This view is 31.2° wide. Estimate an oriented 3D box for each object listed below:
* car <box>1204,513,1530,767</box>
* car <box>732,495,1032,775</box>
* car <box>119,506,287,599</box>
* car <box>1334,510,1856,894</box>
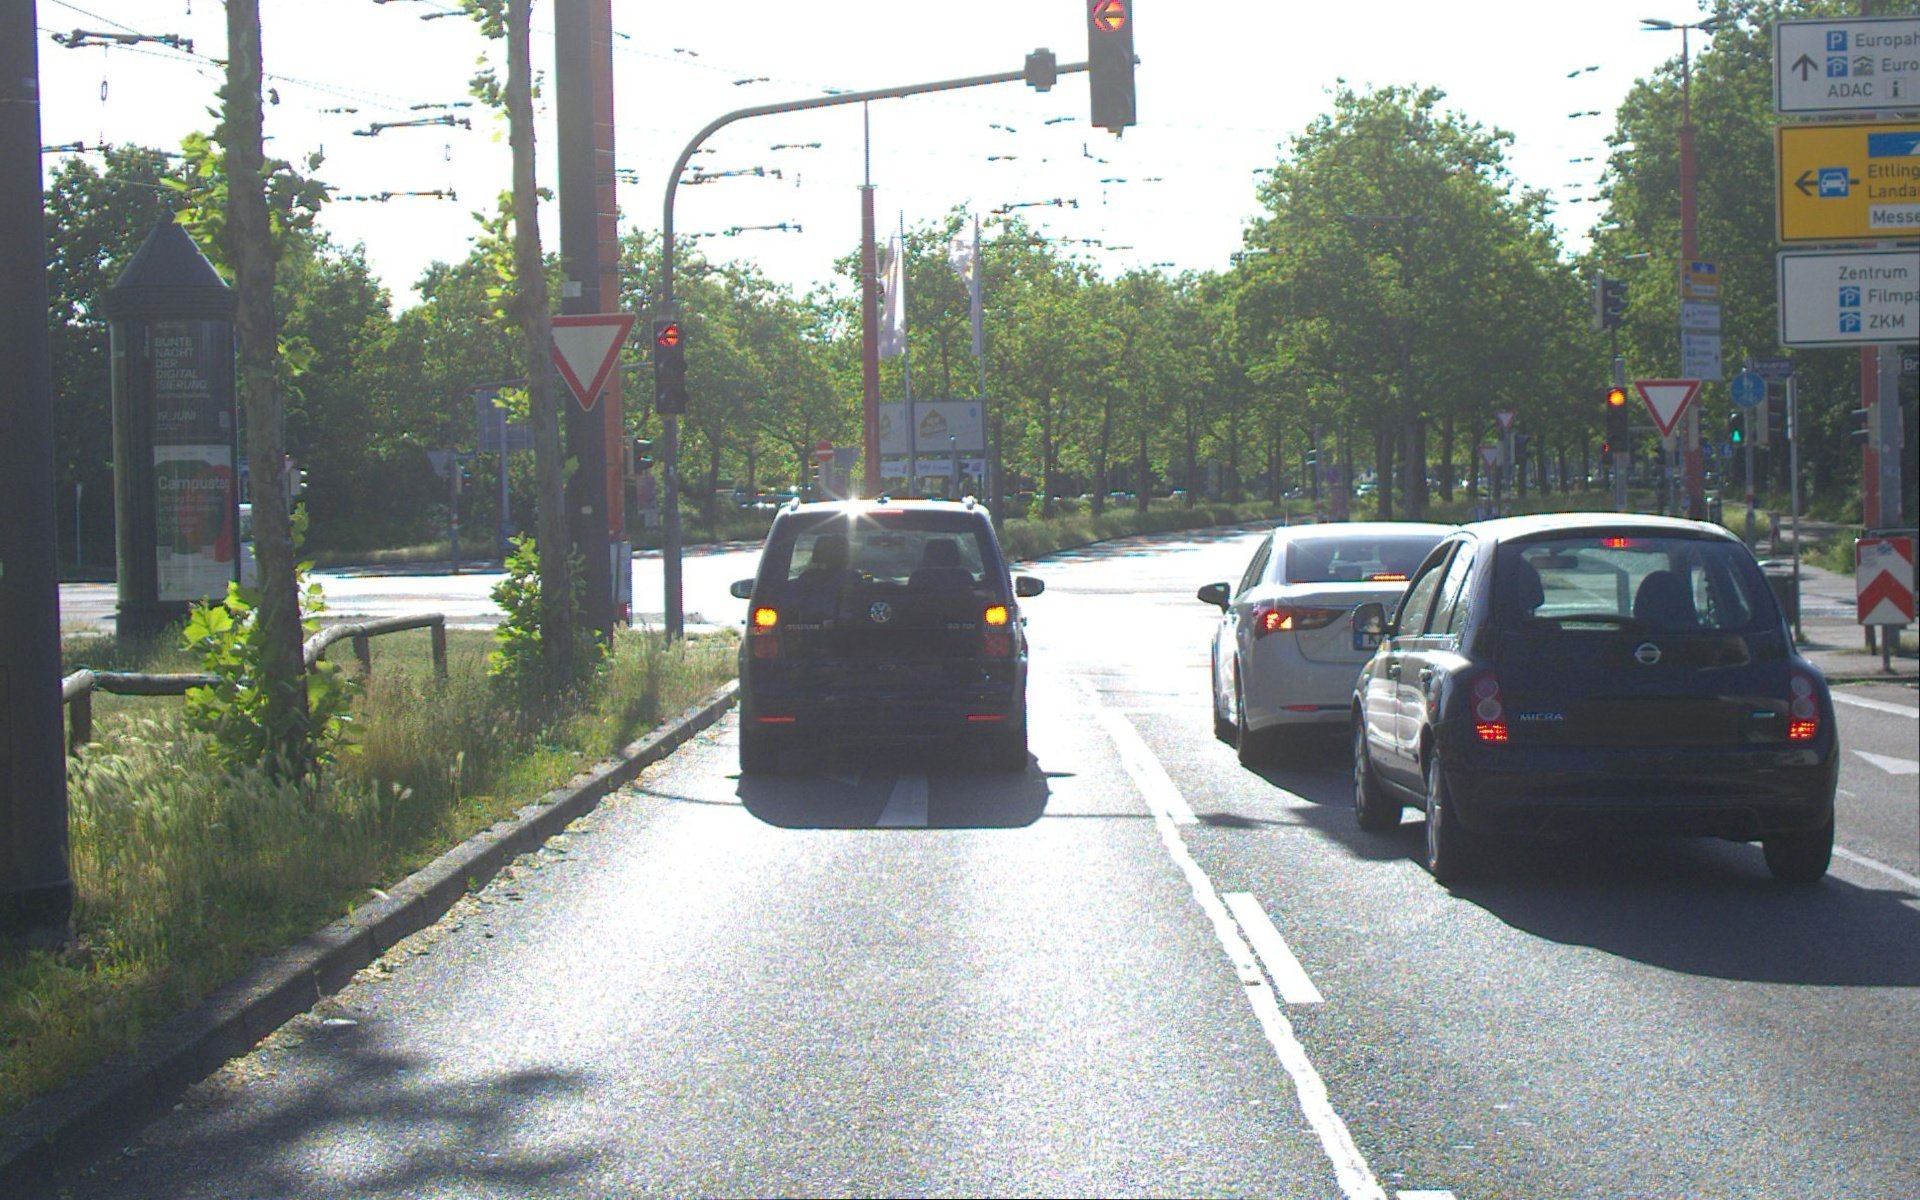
[{"bbox_3d":[2.500,0.197,21.960,1.678,1.470,4.131,0,1,1],"label":"car"},{"bbox_3d":[-0.468,0.173,21.445,1.710,1.598,3.350,0,1,-1],"label":"car"},{"bbox_3d":[-14.857,-0.943,67.709,1.823,1.774,4.566,0,1,7],"label":"car"},{"bbox_3d":[2.711,0.362,15.406,1.639,1.489,3.504,0,2,-1],"label":"car"}]
